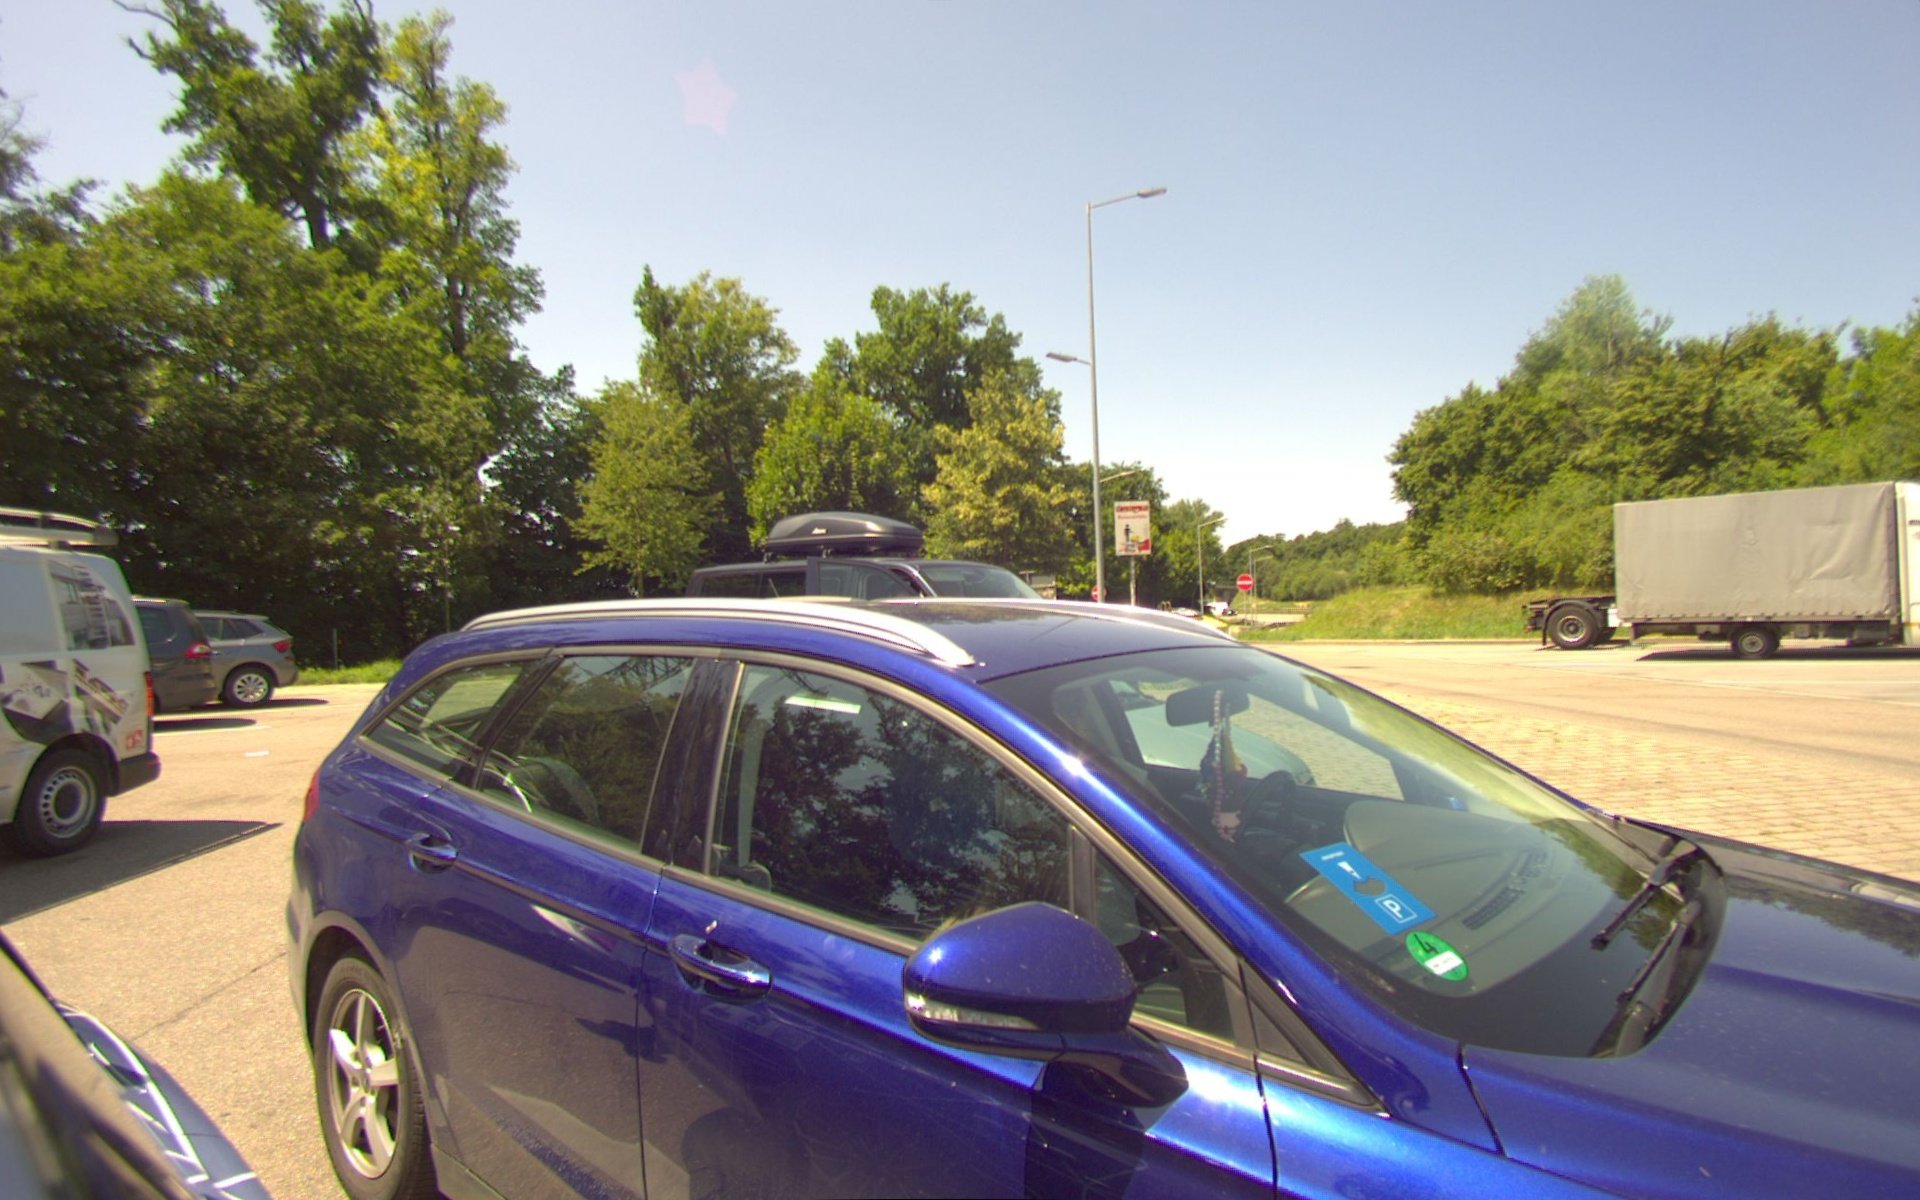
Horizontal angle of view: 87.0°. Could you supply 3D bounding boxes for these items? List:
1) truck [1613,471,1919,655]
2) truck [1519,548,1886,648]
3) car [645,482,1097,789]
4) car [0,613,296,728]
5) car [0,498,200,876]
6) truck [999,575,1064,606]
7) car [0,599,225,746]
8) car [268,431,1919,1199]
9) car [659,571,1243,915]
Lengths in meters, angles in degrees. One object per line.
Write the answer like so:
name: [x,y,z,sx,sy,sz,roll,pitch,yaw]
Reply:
truck: [16.640,-0.624,18.812,7.253,3.175,2.148,-2,-1,41]
truck: [16.921,0.047,23.490,6.613,2.029,1.973,-2,-1,41]
car: [-0.955,0.331,9.620,4.076,2.336,1.767,-2,-1,35]
car: [-12.536,0.996,15.687,3.535,1.513,1.708,-1,0,-42]
car: [-6.202,0.471,4.582,1.816,2.121,5.440,0,-1,-5]
truck: [3.444,-0.458,48.794,2.866,1.386,1.158,-2,-1,22]
car: [-11.607,0.865,12.563,1.755,1.701,3.798,-2,-1,45]
car: [0.256,0.635,2.069,4.411,1.429,1.721,-2,-1,41]
car: [-0.204,0.609,5.575,3.112,1.370,1.326,-2,-1,41]
